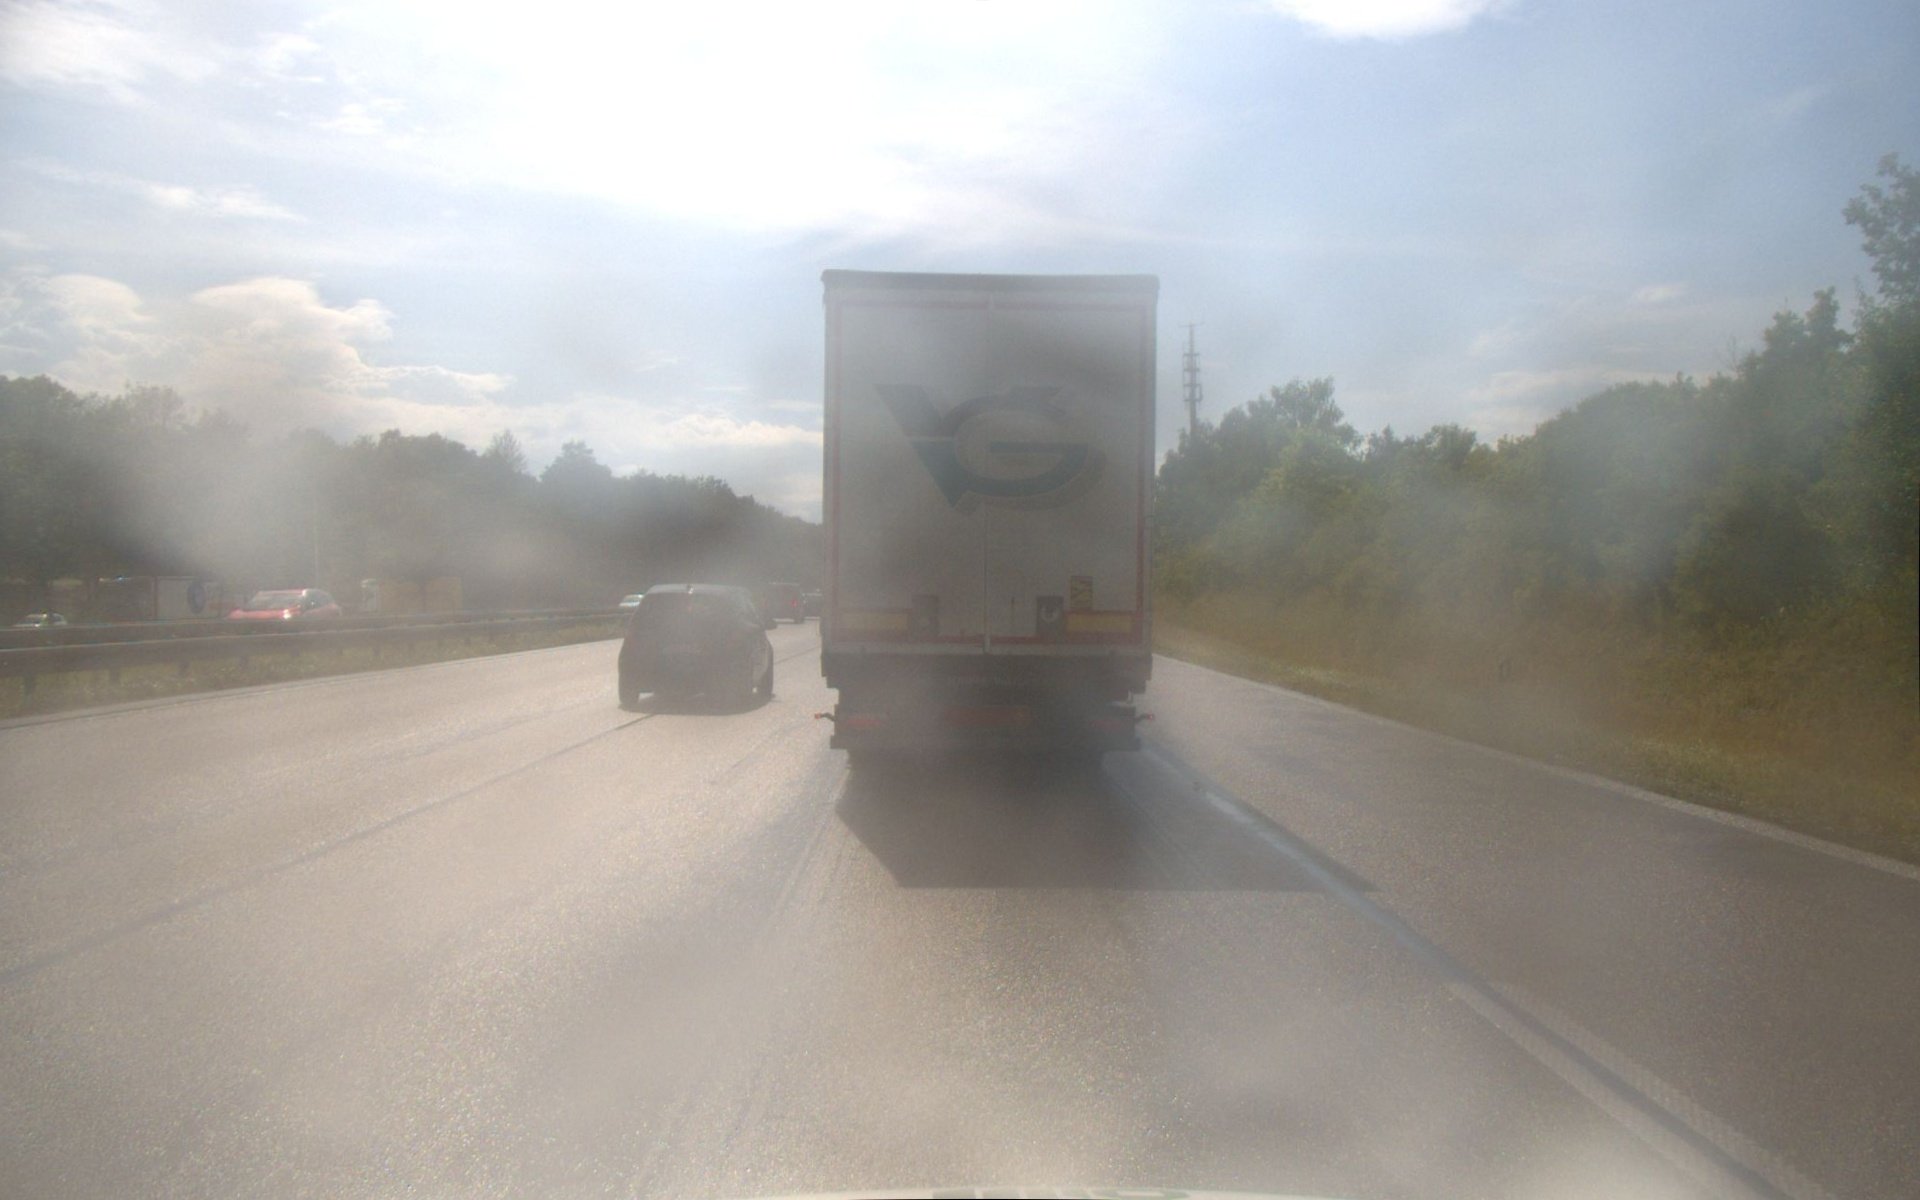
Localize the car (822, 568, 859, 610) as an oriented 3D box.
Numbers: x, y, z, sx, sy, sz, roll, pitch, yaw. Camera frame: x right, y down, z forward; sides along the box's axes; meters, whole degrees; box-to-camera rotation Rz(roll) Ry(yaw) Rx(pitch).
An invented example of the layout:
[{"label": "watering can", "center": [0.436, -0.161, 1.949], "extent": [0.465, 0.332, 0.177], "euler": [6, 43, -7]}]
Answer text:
[{"label": "car", "center": [-7.841, -0.685, 109.175], "extent": [1.952, 2.661, 5.259], "euler": [1, 0, 0]}]

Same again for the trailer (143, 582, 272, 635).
[{"label": "trailer", "center": [-55.048, 0.608, 121.443], "extent": [3.708, 3.713, 10.505], "euler": [0, 0, 7]}]

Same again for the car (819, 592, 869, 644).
[{"label": "car", "center": [-4.298, 0.649, 61.647], "extent": [1.658, 1.836, 3.974], "euler": [1, 0, -2]}]

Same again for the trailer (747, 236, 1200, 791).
[{"label": "trailer", "center": [-0.035, -0.644, 19.118], "extent": [3.217, 3.967, 14.125], "euler": [1, 0, -1]}]

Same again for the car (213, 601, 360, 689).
[{"label": "car", "center": [-17.030, 1.093, 42.108], "extent": [1.793, 2.081, 4.778], "euler": [1, 0, -1]}]

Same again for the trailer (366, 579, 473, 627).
[{"label": "trailer", "center": [-49.332, 0.346, 151.402], "extent": [3.707, 4.189, 11.735], "euler": [1, 0, 13]}]

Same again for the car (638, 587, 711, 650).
[{"label": "car", "center": [-8.753, 0.564, 50.900], "extent": [1.658, 1.836, 3.974], "euler": [1, 0, -2]}]

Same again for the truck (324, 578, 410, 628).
[{"label": "truck", "center": [-51.228, 0.261, 143.179], "extent": [3.707, 4.189, 7.051], "euler": [1, 0, 13]}]

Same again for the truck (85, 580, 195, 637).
[{"label": "truck", "center": [-55.928, 0.592, 112.970], "extent": [3.708, 3.724, 6.709], "euler": [1, 0, 5]}]

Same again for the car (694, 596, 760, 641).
[{"label": "car", "center": [-9.032, 0.706, 64.568], "extent": [1.869, 1.665, 4.616], "euler": [-1, 0, 0]}]

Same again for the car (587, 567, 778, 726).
[{"label": "car", "center": [-3.802, 0.608, 23.534], "extent": [2.230, 1.989, 4.816], "euler": [1, 0, -5]}]

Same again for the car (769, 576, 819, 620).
[{"label": "car", "center": [-8.274, -0.089, 82.704], "extent": [1.938, 2.090, 4.756], "euler": [1, 0, 0]}]

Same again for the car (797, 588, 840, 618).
[{"label": "car", "center": [-7.876, 0.161, 92.695], "extent": [1.952, 1.592, 4.756], "euler": [1, 0, 0]}]
